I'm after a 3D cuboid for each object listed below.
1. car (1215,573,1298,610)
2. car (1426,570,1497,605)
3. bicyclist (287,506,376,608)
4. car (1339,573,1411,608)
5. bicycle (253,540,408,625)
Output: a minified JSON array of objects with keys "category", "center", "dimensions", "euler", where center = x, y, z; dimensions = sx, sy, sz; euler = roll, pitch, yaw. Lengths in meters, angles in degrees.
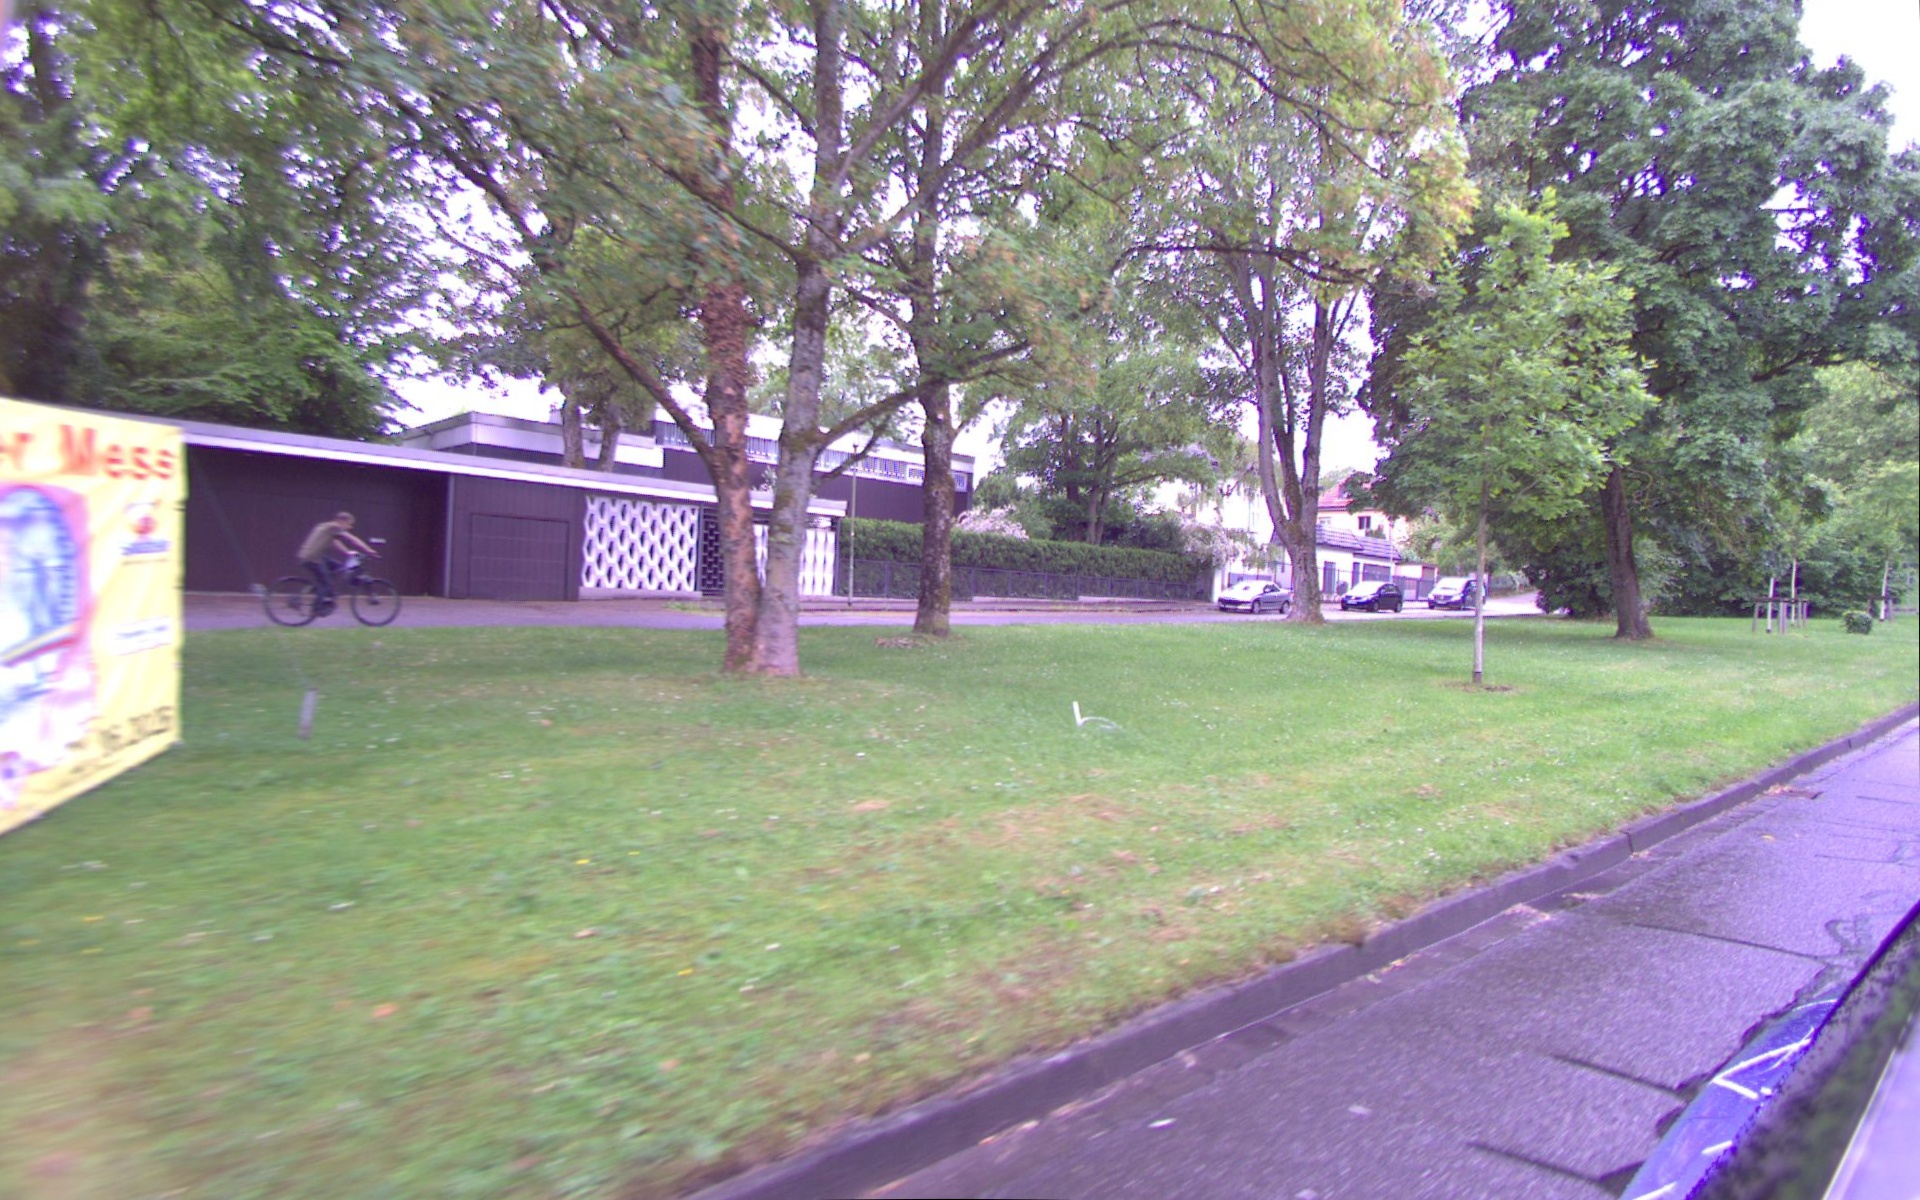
[{"category":"car","center":[12.412,-0.380,42.293],"dimensions":[3.648,1.392,1.684],"euler":[-1,5,-44]},{"category":"car","center":[29.545,-0.762,59.537],"dimensions":[4.987,1.901,2.161],"euler":[-1,3,-44]},{"category":"bicyclist","center":[-9.091,-0.612,14.640],"dimensions":[0.982,1.408,0.746],"euler":[0,1,-41]},{"category":"car","center":[20.892,-0.508,50.935],"dimensions":[3.969,1.644,1.904],"euler":[-1,3,-44]},{"category":"bicycle","center":[-9.080,-0.251,14.650],"dimensions":[1.831,1.152,0.596],"euler":[0,1,-41]}]
